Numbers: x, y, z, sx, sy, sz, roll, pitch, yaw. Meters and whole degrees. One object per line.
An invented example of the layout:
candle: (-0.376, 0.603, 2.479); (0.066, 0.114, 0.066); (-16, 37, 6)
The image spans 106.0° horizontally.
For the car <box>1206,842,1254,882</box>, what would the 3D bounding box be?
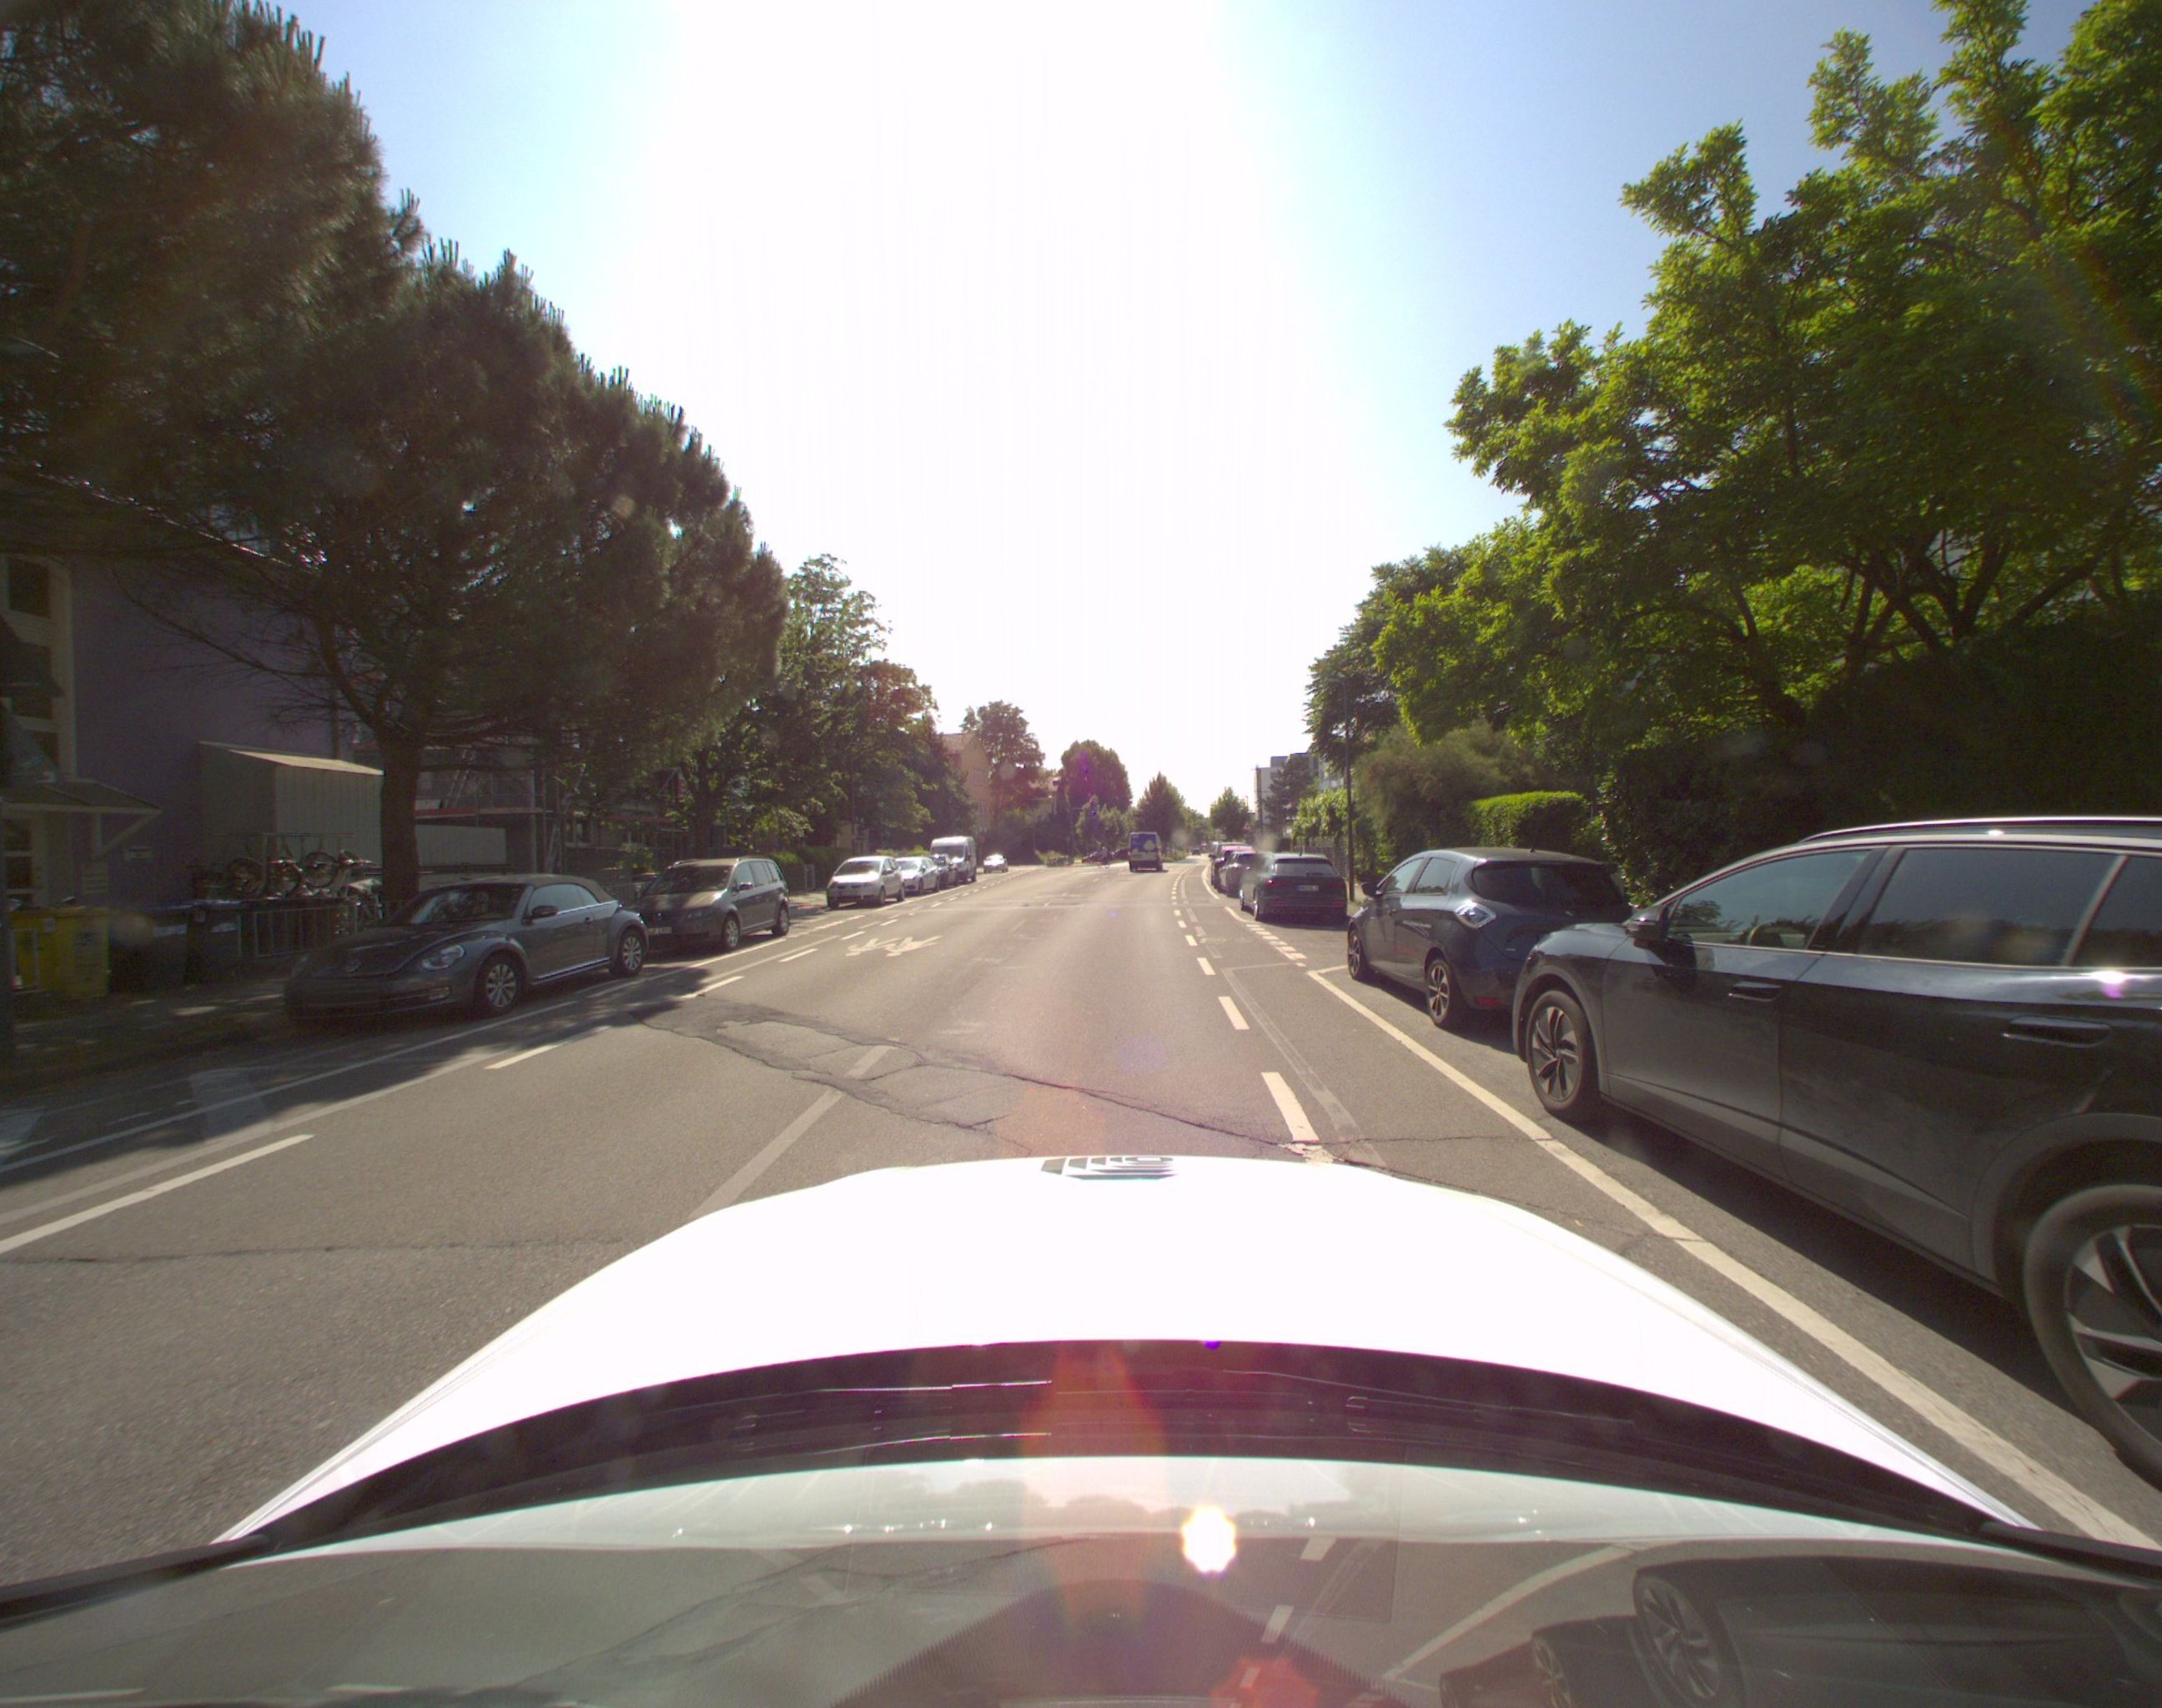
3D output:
car: (6.810, 0.349, 37.529); (1.693, 1.677, 3.778); (-2, 0, 3)

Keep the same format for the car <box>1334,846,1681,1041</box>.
car: (3.962, 0.683, 8.366); (1.702, 1.514, 3.905); (0, 0, 3)

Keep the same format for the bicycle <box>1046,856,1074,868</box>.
bicycle: (-2.104, 0.800, 80.164); (2.663, 1.026, 1.023); (-2, 0, -8)

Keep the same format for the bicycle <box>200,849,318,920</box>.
bicycle: (-14.999, 0.525, 14.917); (0.534, 1.181, 1.449); (-2, 2, 6)

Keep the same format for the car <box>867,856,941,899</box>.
car: (-6.893, 0.874, 32.076); (1.827, 1.496, 3.658); (-2, 0, 4)

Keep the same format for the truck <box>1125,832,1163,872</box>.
truck: (4.317, -0.140, 55.475); (2.260, 2.571, 4.401); (-2, 0, 8)

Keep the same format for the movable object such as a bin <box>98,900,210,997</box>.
movable object such as a bin: (-11.510, 1.160, 10.128); (0.602, 1.111, 0.664); (-2, 0, 6)

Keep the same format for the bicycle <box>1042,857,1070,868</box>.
bicycle: (-2.466, 0.836, 81.259); (2.686, 1.047, 1.023); (-2, 0, -8)

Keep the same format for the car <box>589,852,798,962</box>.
car: (-6.963, 0.842, 15.216); (1.904, 1.677, 4.256); (-2, 0, -2)

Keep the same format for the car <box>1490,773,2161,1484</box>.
car: (3.466, 0.629, 3.148); (1.777, 1.638, 4.475); (0, 0, 4)

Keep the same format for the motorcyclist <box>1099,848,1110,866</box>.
motorcyclist: (1.934, 0.236, 67.715); (0.676, 1.518, 0.646); (-2, 0, -27)

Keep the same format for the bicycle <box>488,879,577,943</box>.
bicycle: (-11.076, 1.125, 16.534); (0.371, 1.146, 1.979); (-2, 0, 3)

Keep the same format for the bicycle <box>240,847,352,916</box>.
bicycle: (-14.263, 0.470, 14.846); (0.534, 1.182, 1.449); (-2, 0, 6)

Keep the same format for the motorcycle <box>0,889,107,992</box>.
motorcycle: (-13.063, 1.051, 9.931); (0.534, 1.182, 1.449); (-2, 0, 6)

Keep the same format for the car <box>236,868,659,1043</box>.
car: (-6.972, 0.983, 9.648); (1.775, 1.460, 4.085); (-2, 0, -1)

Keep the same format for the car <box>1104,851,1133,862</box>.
car: (5.387, 0.338, 116.805); (3.985, 1.490, 1.624); (-2, 0, -9)

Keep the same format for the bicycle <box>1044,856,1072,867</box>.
bicycle: (-2.365, 0.746, 82.386); (2.686, 1.047, 1.023); (-2, 0, -8)

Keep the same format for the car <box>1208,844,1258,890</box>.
car: (5.958, 0.456, 32.216); (1.691, 1.677, 3.783); (-2, 0, 8)

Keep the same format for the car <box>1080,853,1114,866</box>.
car: (1.939, 0.630, 100.319); (3.985, 1.490, 1.624); (-2, 0, -9)

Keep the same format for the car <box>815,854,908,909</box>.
car: (-6.963, 0.842, 26.244); (1.828, 1.595, 3.776); (-2, 0, 2)

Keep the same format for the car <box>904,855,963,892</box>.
car: (-6.684, 0.859, 37.279); (1.746, 1.496, 3.658); (-2, 0, 4)

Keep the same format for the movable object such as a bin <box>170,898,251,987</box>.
movable object such as a bin: (-11.439, 1.159, 10.710); (0.602, 1.111, 0.432); (-2, 0, 6)

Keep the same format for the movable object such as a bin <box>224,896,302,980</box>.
movable object such as a bin: (-11.394, 1.159, 11.354); (0.541, 1.111, 0.520); (-2, 0, 6)

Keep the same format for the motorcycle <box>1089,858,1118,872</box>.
motorcycle: (1.875, 0.892, 67.955); (1.063, 1.122, 2.963); (-2, 0, -30)

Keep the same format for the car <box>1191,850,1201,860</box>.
car: (23.526, 0.174, 166.498); (1.899, 2.013, 4.006); (-2, 0, 5)

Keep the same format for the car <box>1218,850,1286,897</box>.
car: (5.521, 0.618, 26.711); (1.775, 1.399, 4.130); (0, -1, 6)

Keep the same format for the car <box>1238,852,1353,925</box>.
car: (4.631, 0.668, 18.176); (1.776, 1.399, 4.330); (0, 0, 5)

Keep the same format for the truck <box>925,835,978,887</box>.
truck: (-6.808, 0.322, 43.361); (2.076, 2.537, 5.462); (-2, 0, -2)

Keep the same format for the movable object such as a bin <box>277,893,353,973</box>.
movable object such as a bin: (-11.347, 1.159, 12.070); (0.541, 1.111, 0.586); (-2, 0, 6)

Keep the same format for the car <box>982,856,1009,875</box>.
car: (-6.781, 0.901, 65.023); (1.749, 1.343, 3.652); (-2, 0, -1)
